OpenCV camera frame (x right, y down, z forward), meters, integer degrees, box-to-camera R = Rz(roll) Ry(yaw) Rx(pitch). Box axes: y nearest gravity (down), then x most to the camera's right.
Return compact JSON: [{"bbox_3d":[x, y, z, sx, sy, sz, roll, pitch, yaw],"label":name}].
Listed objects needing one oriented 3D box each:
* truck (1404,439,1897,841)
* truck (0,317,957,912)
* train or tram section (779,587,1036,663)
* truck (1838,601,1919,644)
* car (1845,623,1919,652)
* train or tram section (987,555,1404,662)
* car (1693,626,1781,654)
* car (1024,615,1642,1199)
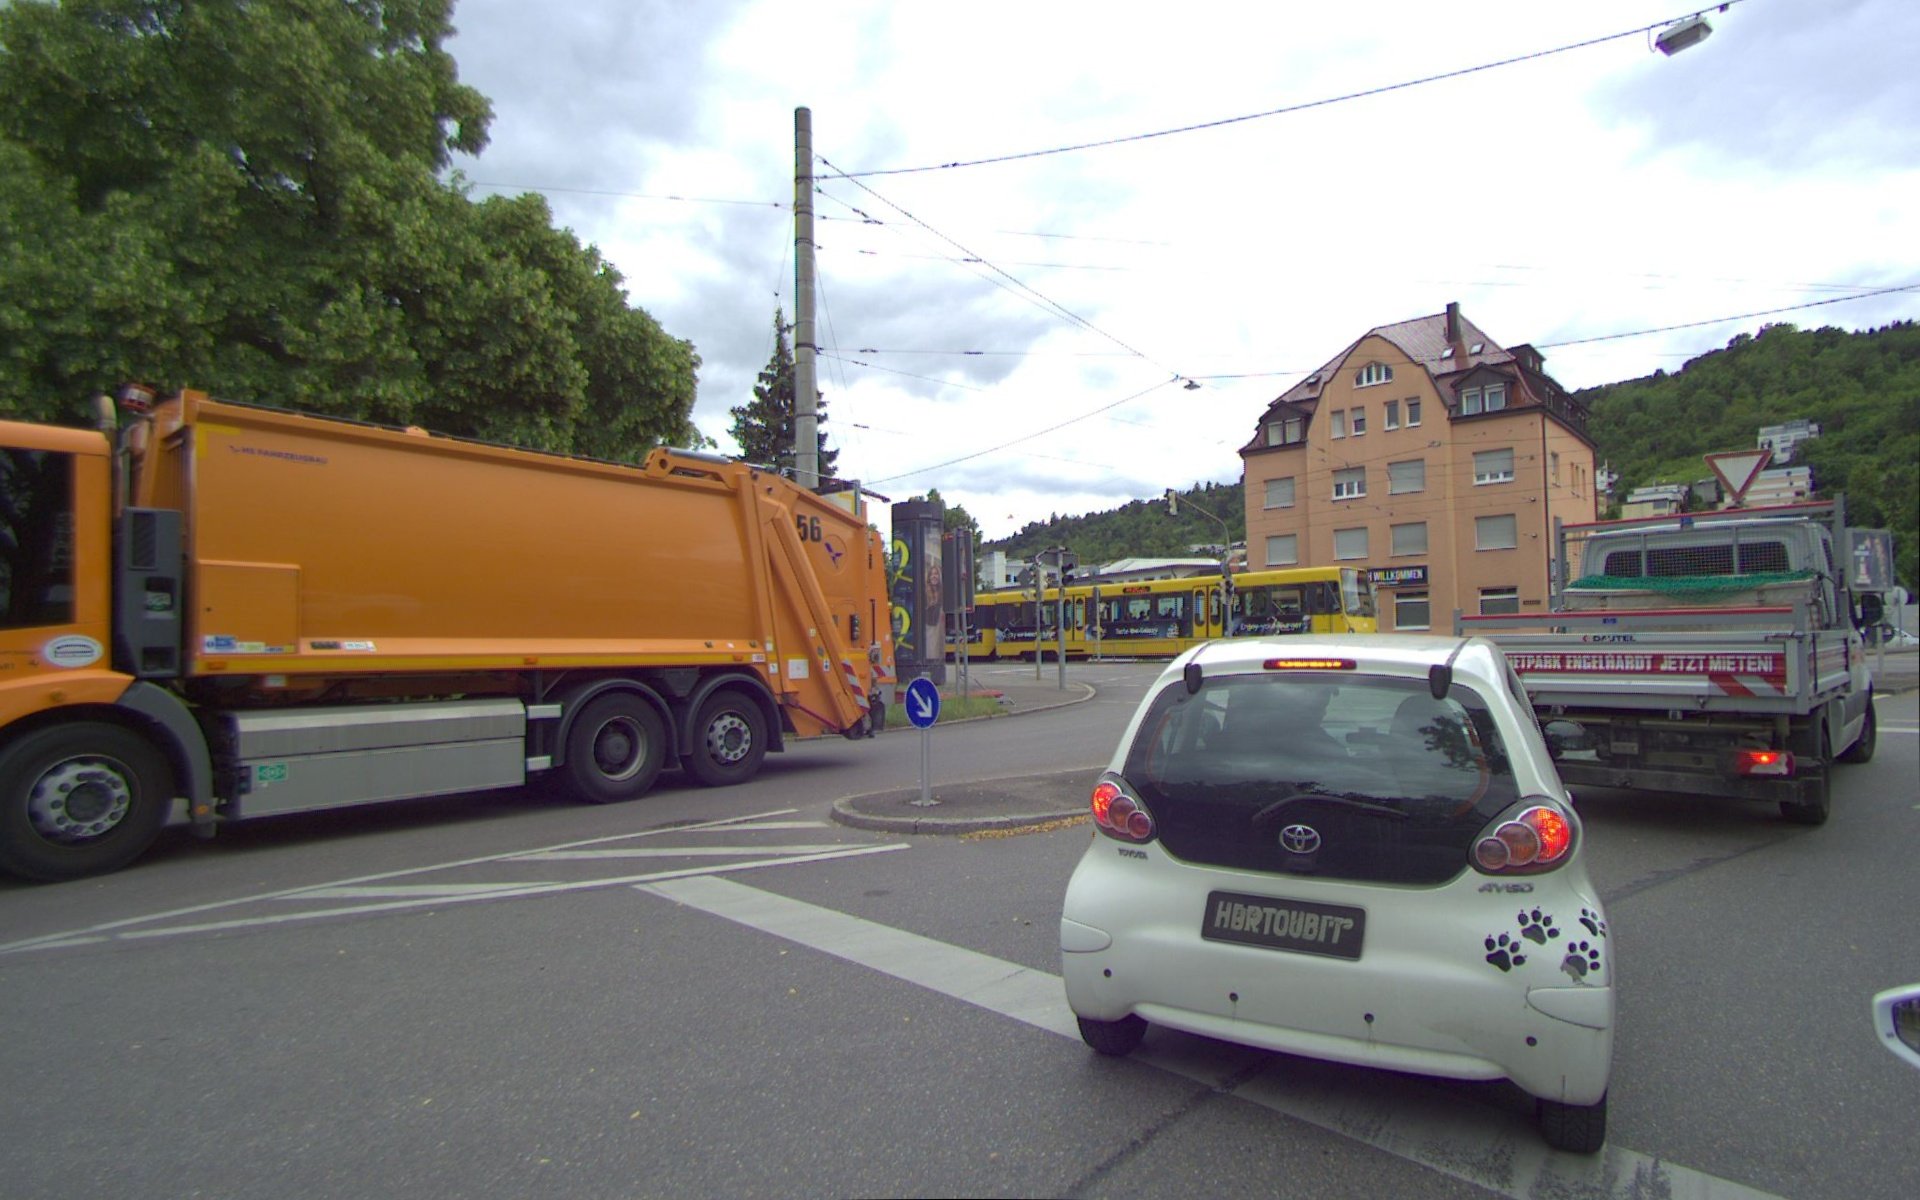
[{"bbox_3d":[6.487,0.331,9.030,5.987,2.429,2.399,1,-4,-44],"label":"truck"},{"bbox_3d":[-4.443,0.125,9.745,2.756,3.573,10.371,-2,-1,40],"label":"truck"},{"bbox_3d":[-3.755,1.664,57.203,3.254,3.714,18.937,0,-3,-43],"label":"train or tram section"},{"bbox_3d":[54.905,1.295,58.620,5.112,2.424,1.995,-3,-2,33],"label":"truck"},{"bbox_3d":[52.657,2.086,56.485,1.764,1.553,4.162,0,-3,-45],"label":"car"},{"bbox_3d":[8.863,0.742,43.120,3.253,3.714,18.944,0,-3,-42],"label":"train or tram section"},{"bbox_3d":[47.452,2.452,61.421,4.153,1.553,1.768,-3,-3,39],"label":"car"},{"bbox_3d":[1.743,0.850,4.373,1.614,1.451,3.426,-3,-3,28],"label":"car"}]
